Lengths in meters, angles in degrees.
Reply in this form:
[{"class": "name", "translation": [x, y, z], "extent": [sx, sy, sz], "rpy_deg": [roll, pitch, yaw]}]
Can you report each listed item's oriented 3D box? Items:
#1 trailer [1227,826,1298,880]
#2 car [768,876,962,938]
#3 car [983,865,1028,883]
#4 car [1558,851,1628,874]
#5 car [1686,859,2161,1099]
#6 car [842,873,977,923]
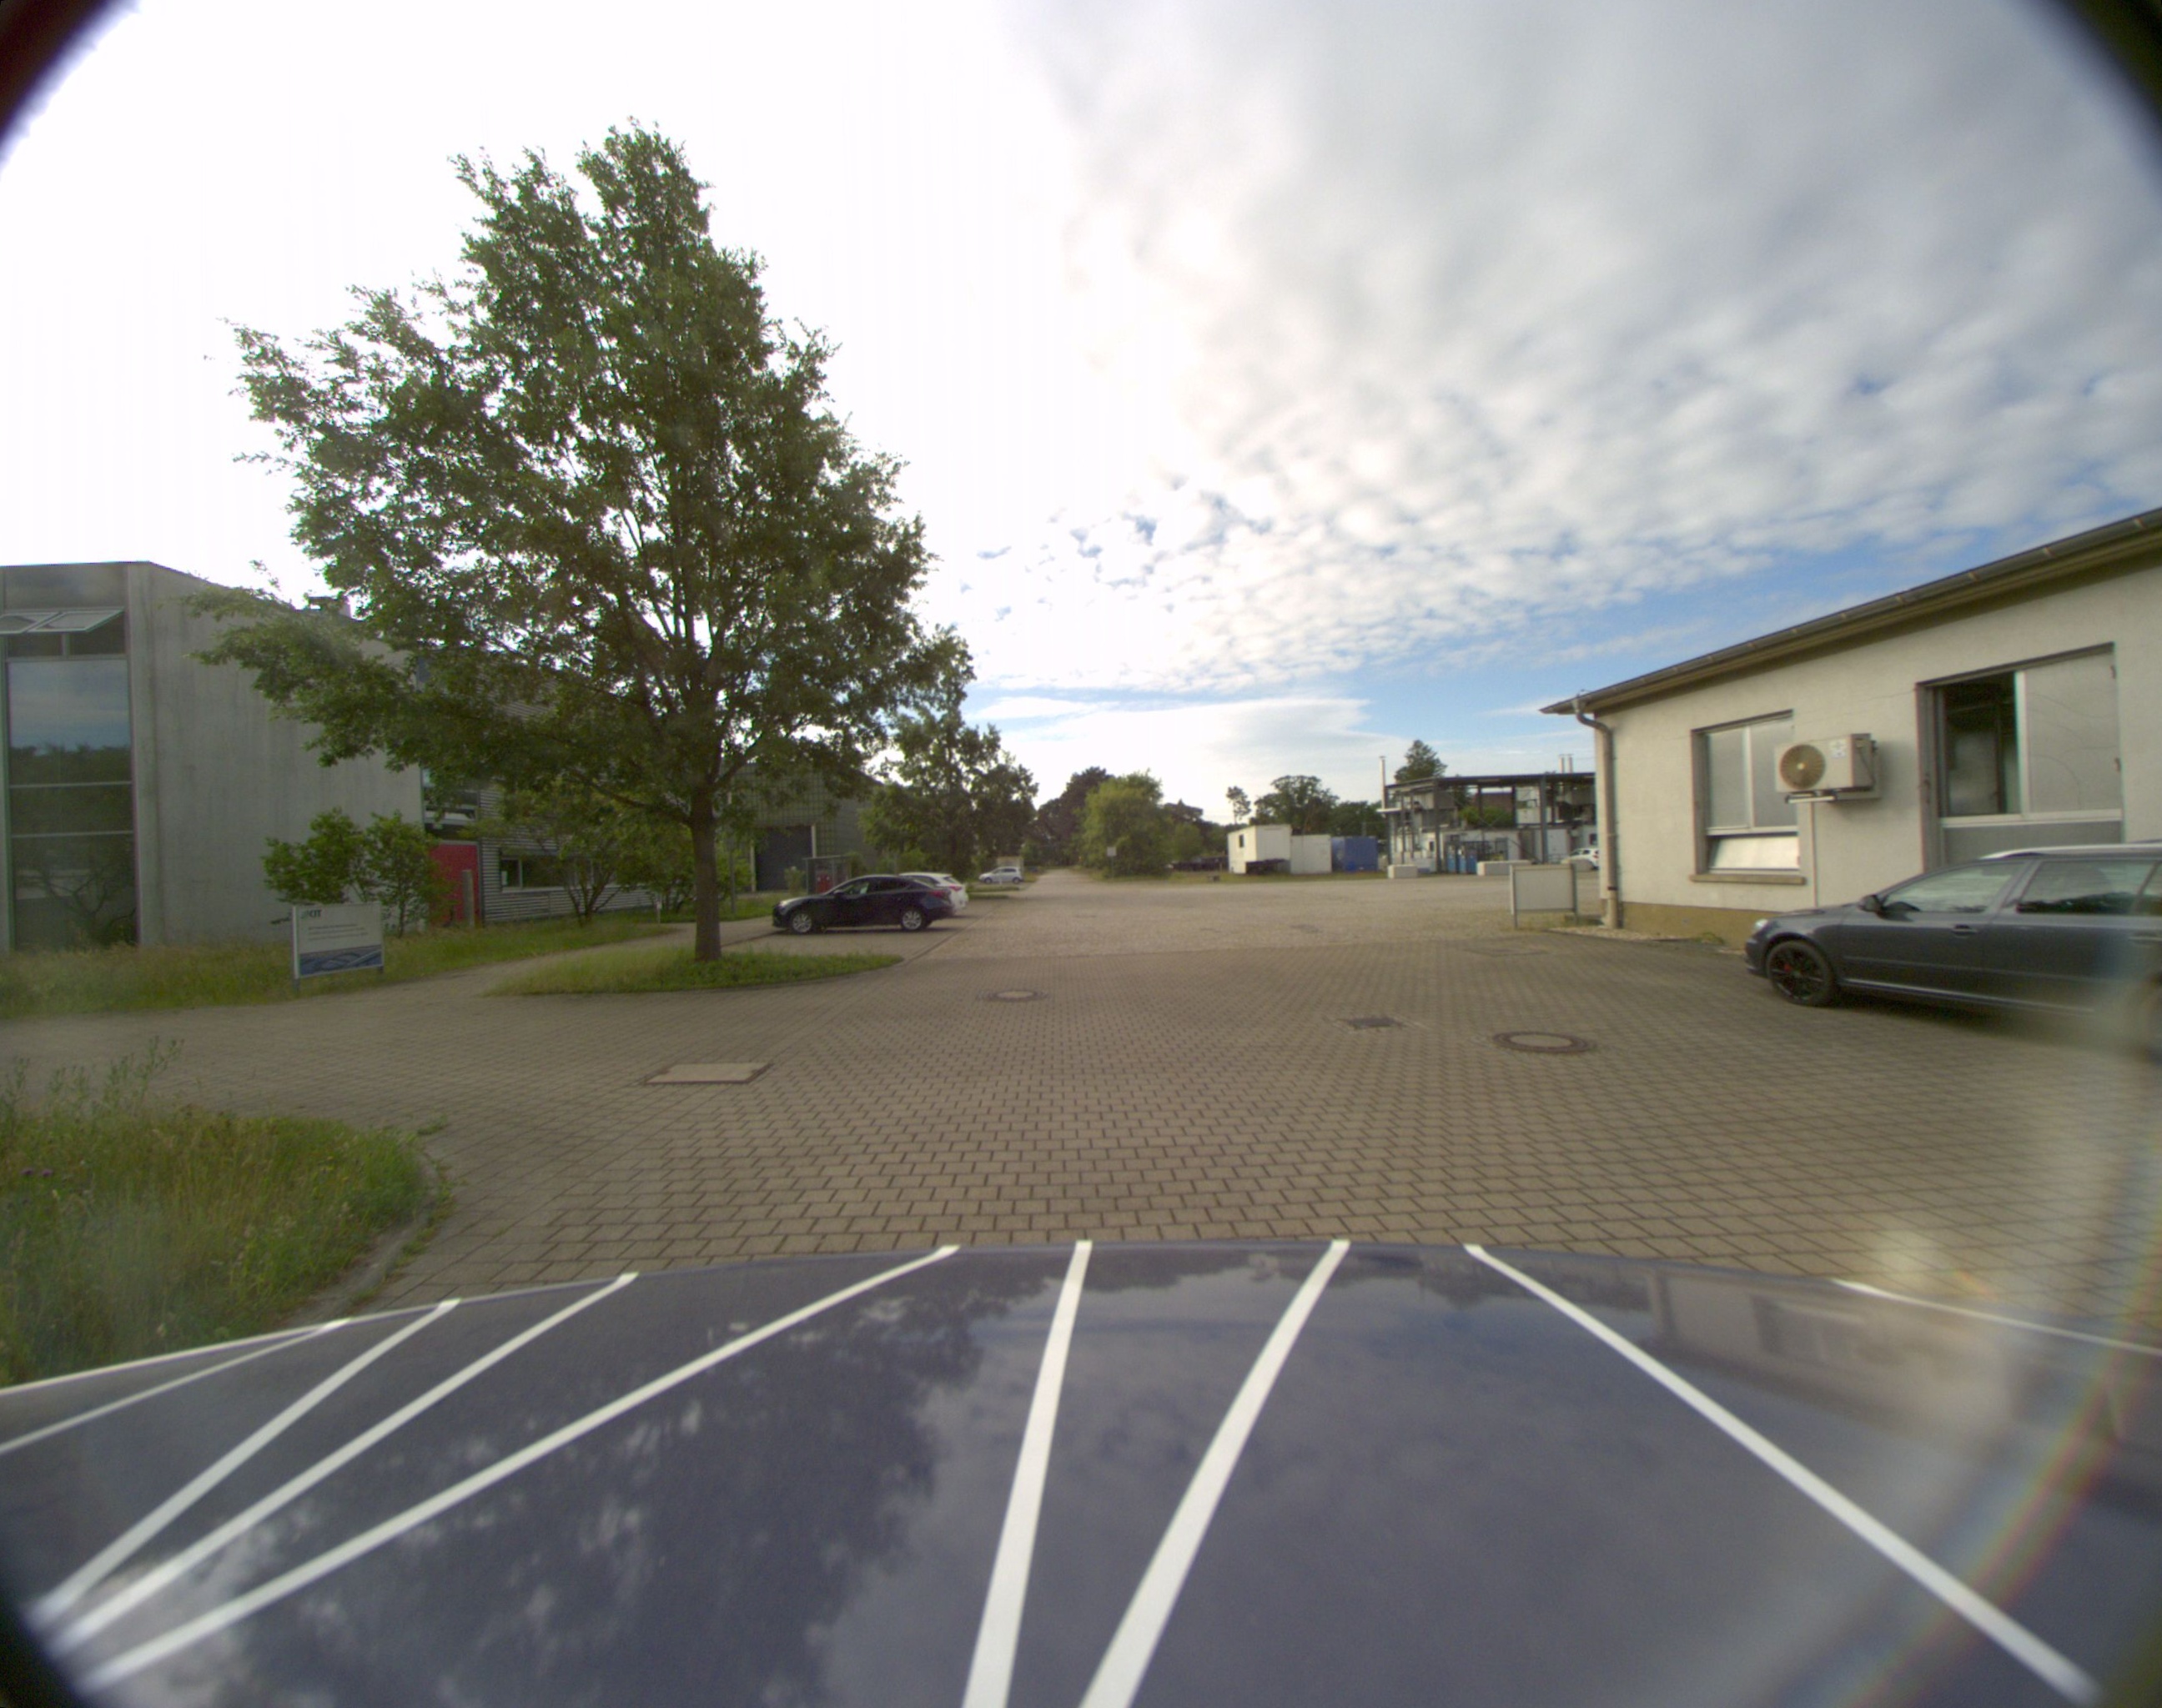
[{"class": "trailer", "translation": [13.591, -0.020, 57.977], "extent": [2.876, 3.640, 10.779], "rpy_deg": [-2, -1, 1]}, {"class": "car", "translation": [-5.464, 1.334, 19.711], "extent": [4.475, 1.438, 1.944], "rpy_deg": [-1, -1, -2]}, {"class": "car", "translation": [-7.029, 1.851, 71.029], "extent": [4.133, 1.615, 1.938], "rpy_deg": [0, 0, -4]}, {"class": "car", "translation": [35.152, 0.570, 52.320], "extent": [1.933, 1.464, 3.999], "rpy_deg": [0, 0, -4]}, {"class": "car", "translation": [7.654, 0.792, 5.882], "extent": [1.930, 1.452, 4.810], "rpy_deg": [-2, -1, -3]}, {"class": "car", "translation": [-5.558, 1.405, 25.000], "extent": [3.986, 1.457, 1.882], "rpy_deg": [-1, -1, -2]}]
